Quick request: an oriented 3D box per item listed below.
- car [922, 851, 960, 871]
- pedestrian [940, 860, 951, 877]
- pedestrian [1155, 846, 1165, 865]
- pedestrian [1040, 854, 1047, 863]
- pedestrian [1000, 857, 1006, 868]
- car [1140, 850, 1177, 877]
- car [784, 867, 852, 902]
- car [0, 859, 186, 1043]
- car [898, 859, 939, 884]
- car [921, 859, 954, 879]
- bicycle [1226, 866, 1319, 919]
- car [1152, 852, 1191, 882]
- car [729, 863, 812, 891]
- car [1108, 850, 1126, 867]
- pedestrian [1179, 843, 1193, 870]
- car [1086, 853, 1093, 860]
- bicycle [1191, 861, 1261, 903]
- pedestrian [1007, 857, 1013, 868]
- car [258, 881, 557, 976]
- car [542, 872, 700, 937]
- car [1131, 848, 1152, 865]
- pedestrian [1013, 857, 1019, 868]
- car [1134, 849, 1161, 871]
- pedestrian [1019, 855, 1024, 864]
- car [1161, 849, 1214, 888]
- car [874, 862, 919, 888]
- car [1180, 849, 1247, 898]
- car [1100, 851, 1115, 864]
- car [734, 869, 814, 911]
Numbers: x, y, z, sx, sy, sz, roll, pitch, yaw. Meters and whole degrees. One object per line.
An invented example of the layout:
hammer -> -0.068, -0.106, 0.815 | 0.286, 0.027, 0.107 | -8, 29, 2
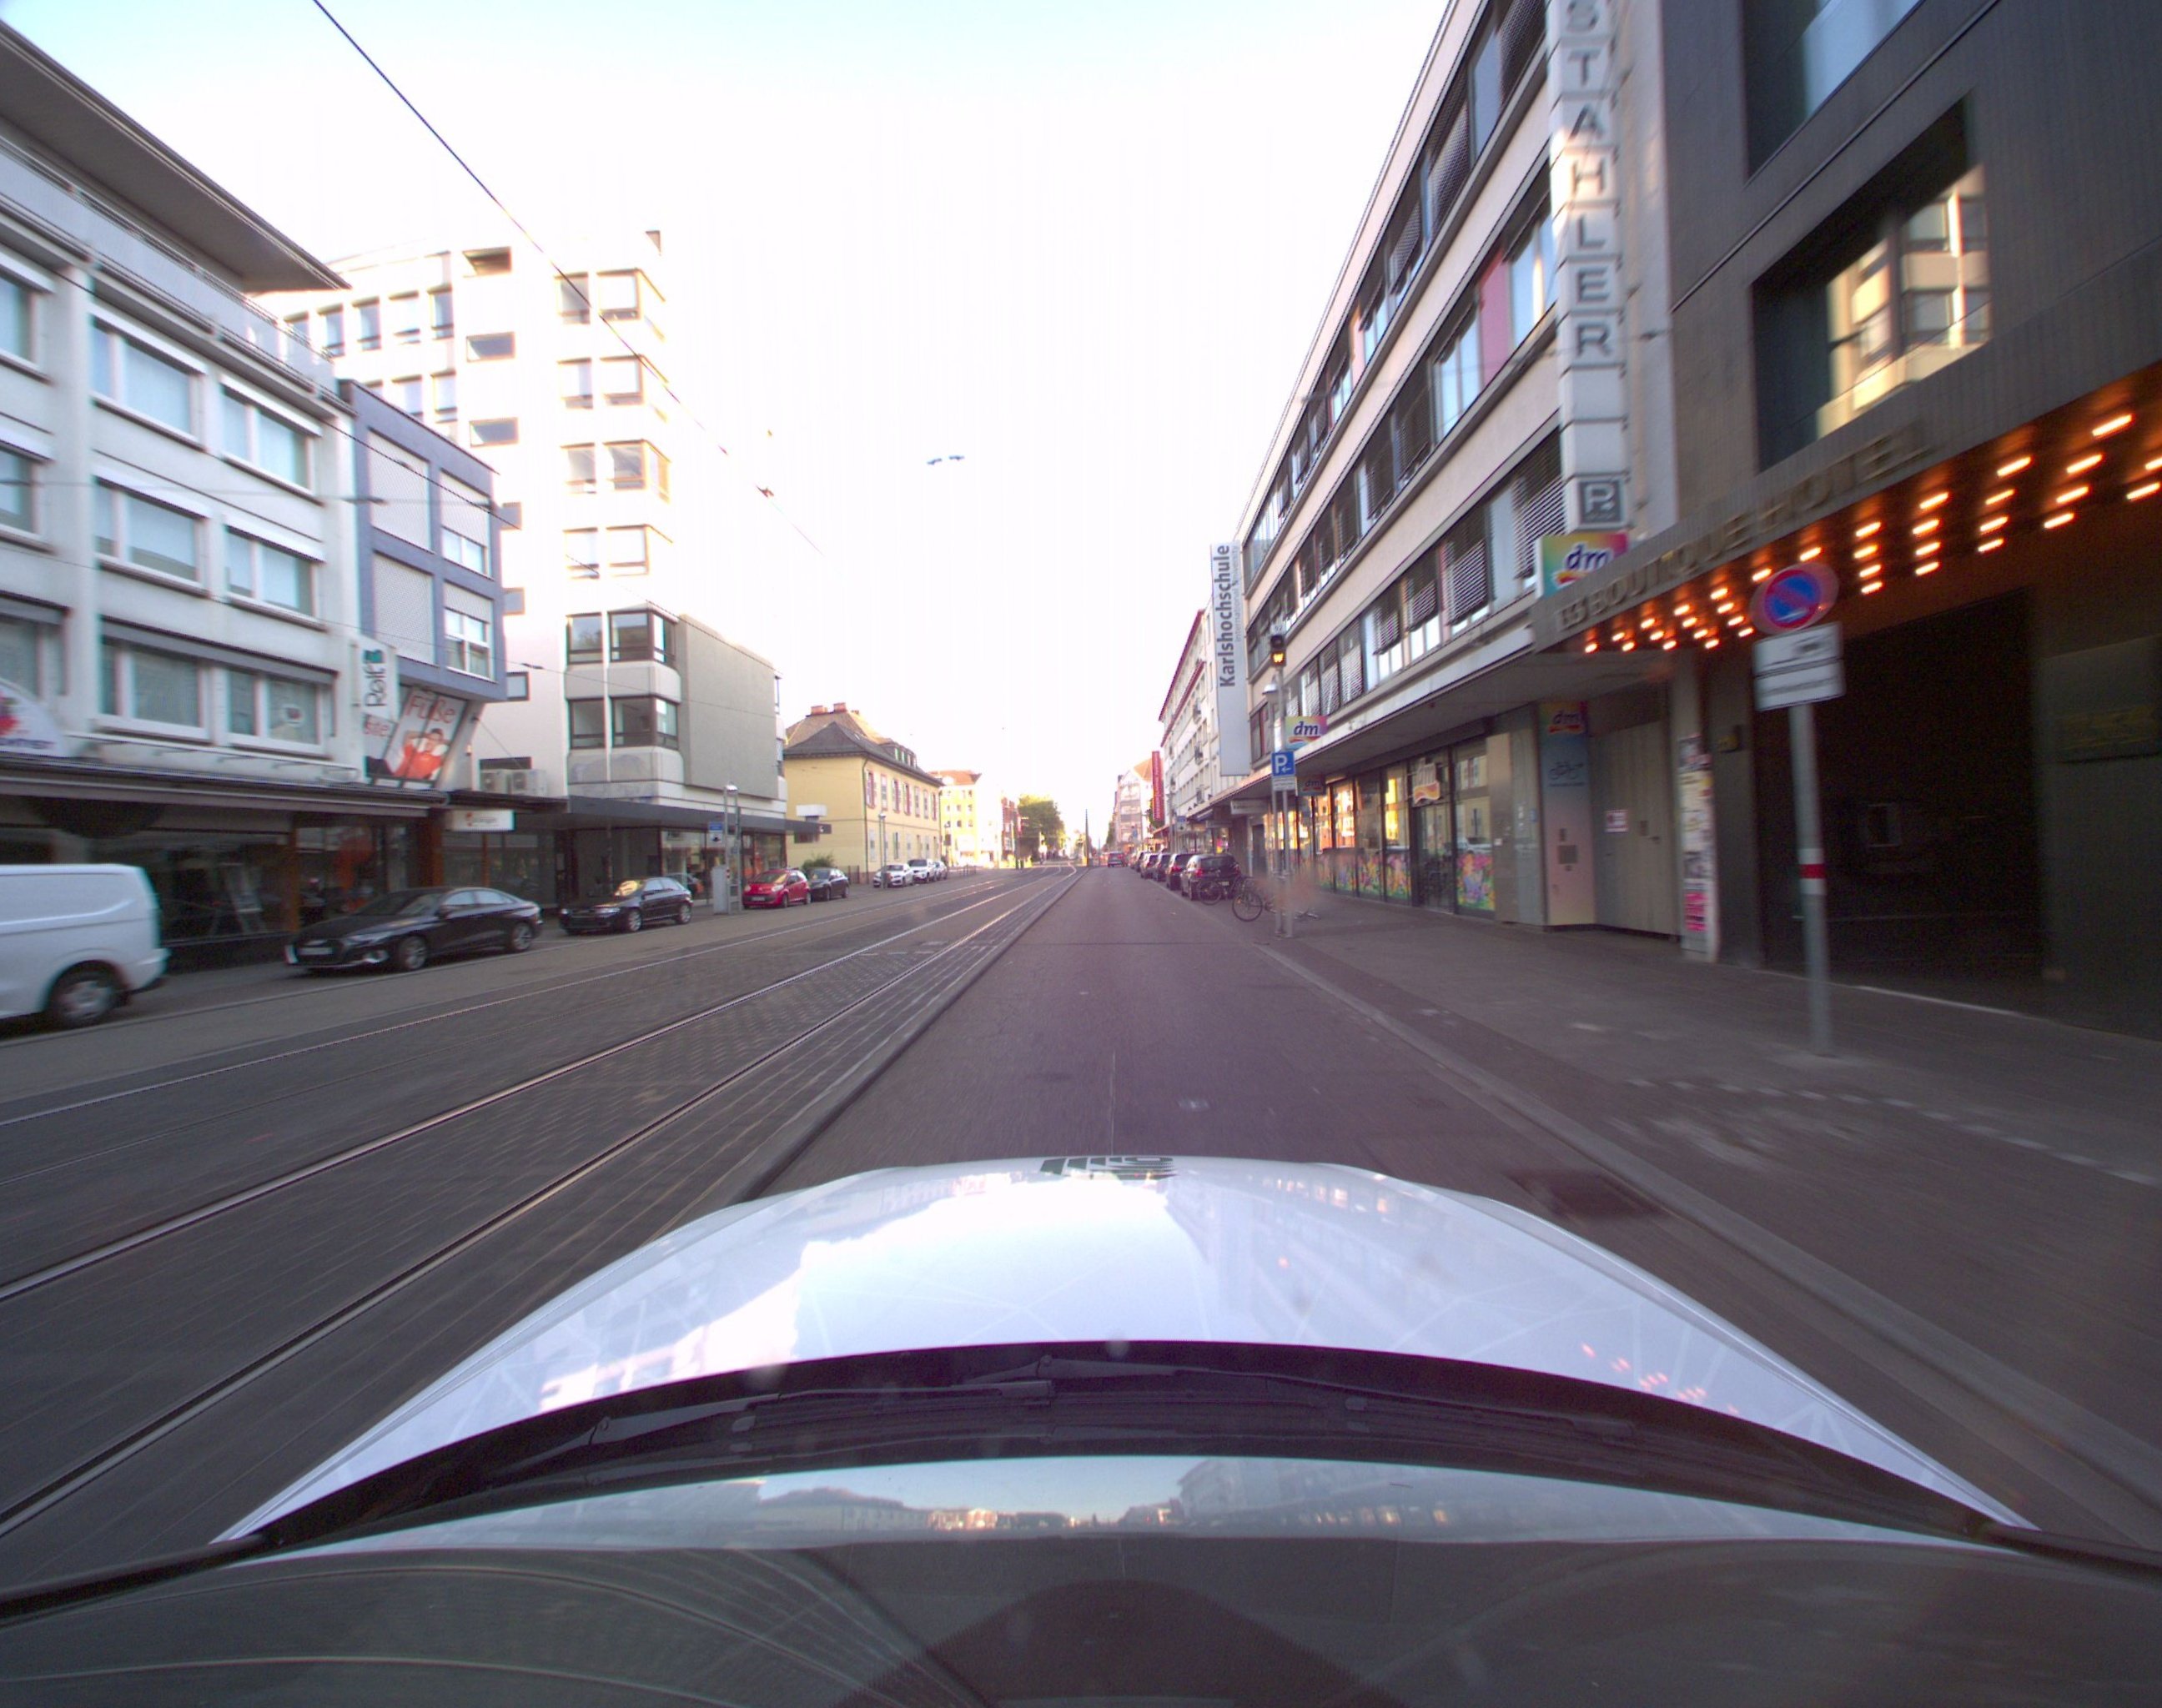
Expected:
car -> -15.728, 0.755, 91.159 | 3.994, 2.013, 1.990 | -2, 0, -15
pedestrian -> -13.088, 1.400, 78.582 | 0.796, 1.542, 0.878 | 0, -1, 3
pedestrian -> 6.824, 0.103, 69.952 | 0.730, 1.574, 0.967 | -2, 0, 1
pedestrian -> -5.815, 0.689, 125.700 | 0.900, 1.375, 0.853 | -2, 0, -1
pedestrian -> -9.985, 1.096, 103.817 | 0.662, 1.375, 0.651 | -2, 0, -1
car -> 4.580, 0.569, 48.752 | 1.785, 1.533, 4.857 | 0, 0, 1
car -> -11.823, 1.335, 36.859 | 1.685, 1.425, 3.967 | 0, 0, 2
car -> -12.810, 1.061, 8.180 | 1.957, 2.014, 5.100 | 0, 0, 1
car -> -11.278, 1.183, 56.753 | 1.881, 1.661, 4.760 | 0, 0, 0
car -> -11.029, 1.142, 62.755 | 1.742, 1.474, 4.001 | 0, 0, 1
bicycle -> 4.082, 0.809, 17.406 | 1.790, 0.972, 0.575 | -4, 0, -2
car -> 4.739, 0.685, 43.179 | 1.719, 1.481, 4.001 | 0, 0, 2
car -> -17.676, 1.301, 46.510 | 3.975, 1.553, 1.913 | 0, -1, -1
car -> 3.919, 0.494, 89.408 | 1.828, 1.636, 4.093 | -3, -2, 3
pedestrian -> 7.299, 0.166, 56.896 | 0.772, 1.880, 0.934 | -3, -1, 0
car -> 2.361, 0.741, 236.075 | 1.948, 2.014, 4.001 | 0, -1, 2
bicycle -> 4.130, 0.788, 23.208 | 1.834, 1.109, 0.642 | -3, -1, -2
pedestrian -> -9.013, 1.030, 103.948 | 0.662, 1.375, 0.651 | -2, 0, -1
car -> -12.545, 1.308, 15.680 | 1.865, 1.427, 4.572 | 0, 0, 2
car -> -12.391, 1.305, 22.271 | 1.783, 1.460, 4.094 | -2, 0, 2
car -> 5.325, 0.245, 71.840 | 1.645, 1.421, 4.192 | 0, 0, 2
pedestrian -> -8.262, 1.046, 104.173 | 0.662, 1.375, 0.651 | -3, 0, -1
car -> 5.164, 0.468, 63.733 | 1.849, 1.701, 4.419 | 0, 0, 1
pedestrian -> -14.180, 1.275, 195.260 | 1.090, 2.014, 1.162 | 0, -1, -1
car -> 4.329, 0.585, 33.650 | 1.758, 1.513, 4.073 | 0, 0, 2
car -> -11.509, 1.285, 51.055 | 1.715, 1.453, 4.284 | 0, 0, 1
car -> 4.233, 0.598, 26.585 | 1.648, 1.463, 4.024 | 0, 0, 2
car -> 3.935, 0.555, 118.787 | 1.986, 1.596, 4.001 | -6, -2, 2
car -> -11.992, 1.371, 32.060 | 1.685, 1.434, 3.593 | -2, 0, 1
